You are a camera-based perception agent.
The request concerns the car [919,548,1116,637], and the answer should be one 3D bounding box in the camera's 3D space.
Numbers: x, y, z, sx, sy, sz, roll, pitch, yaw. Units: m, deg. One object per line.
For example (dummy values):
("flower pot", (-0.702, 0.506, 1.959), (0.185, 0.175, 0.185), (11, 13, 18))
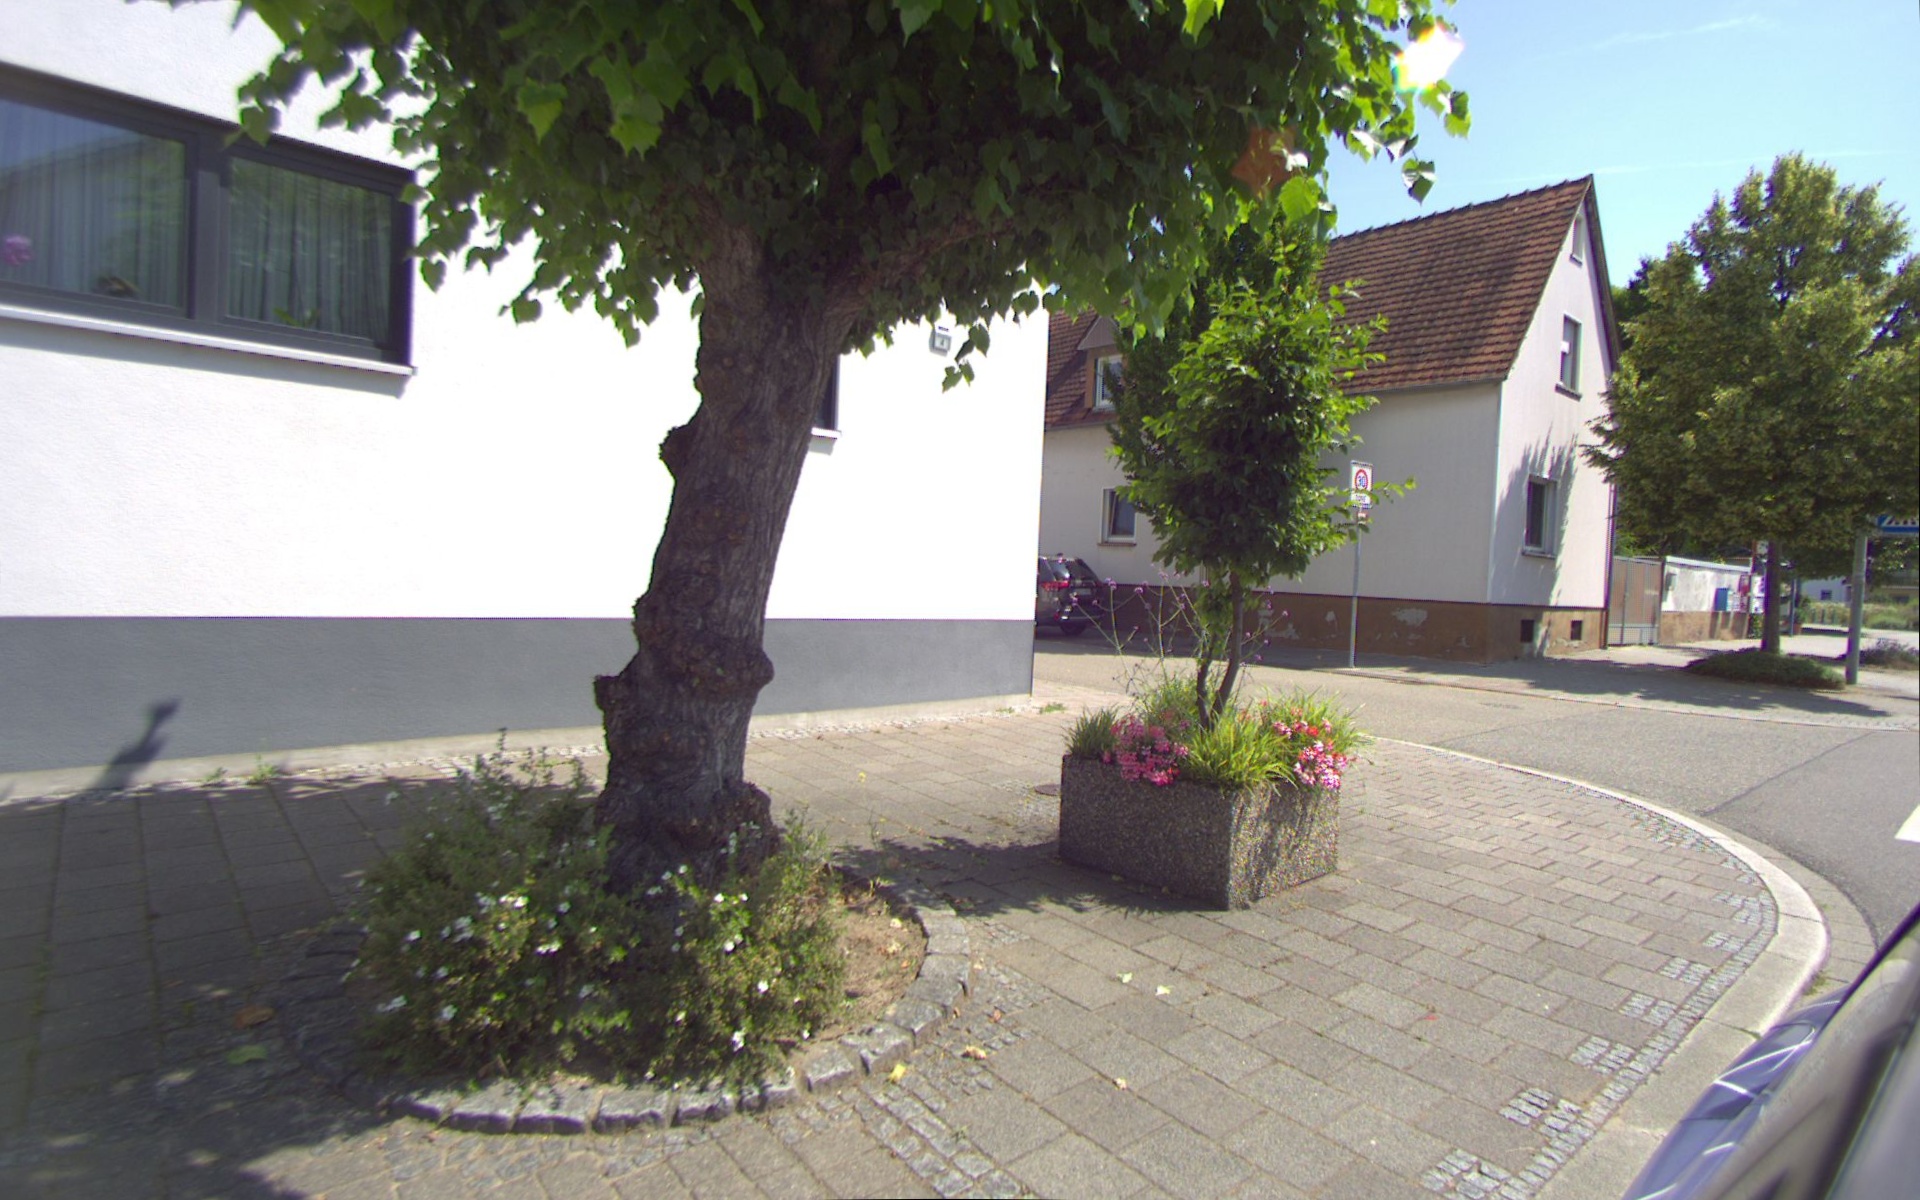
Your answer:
("car", (1.111, -0.218, 21.476), (1.796, 1.693, 4.176), (1, 2, -39))
